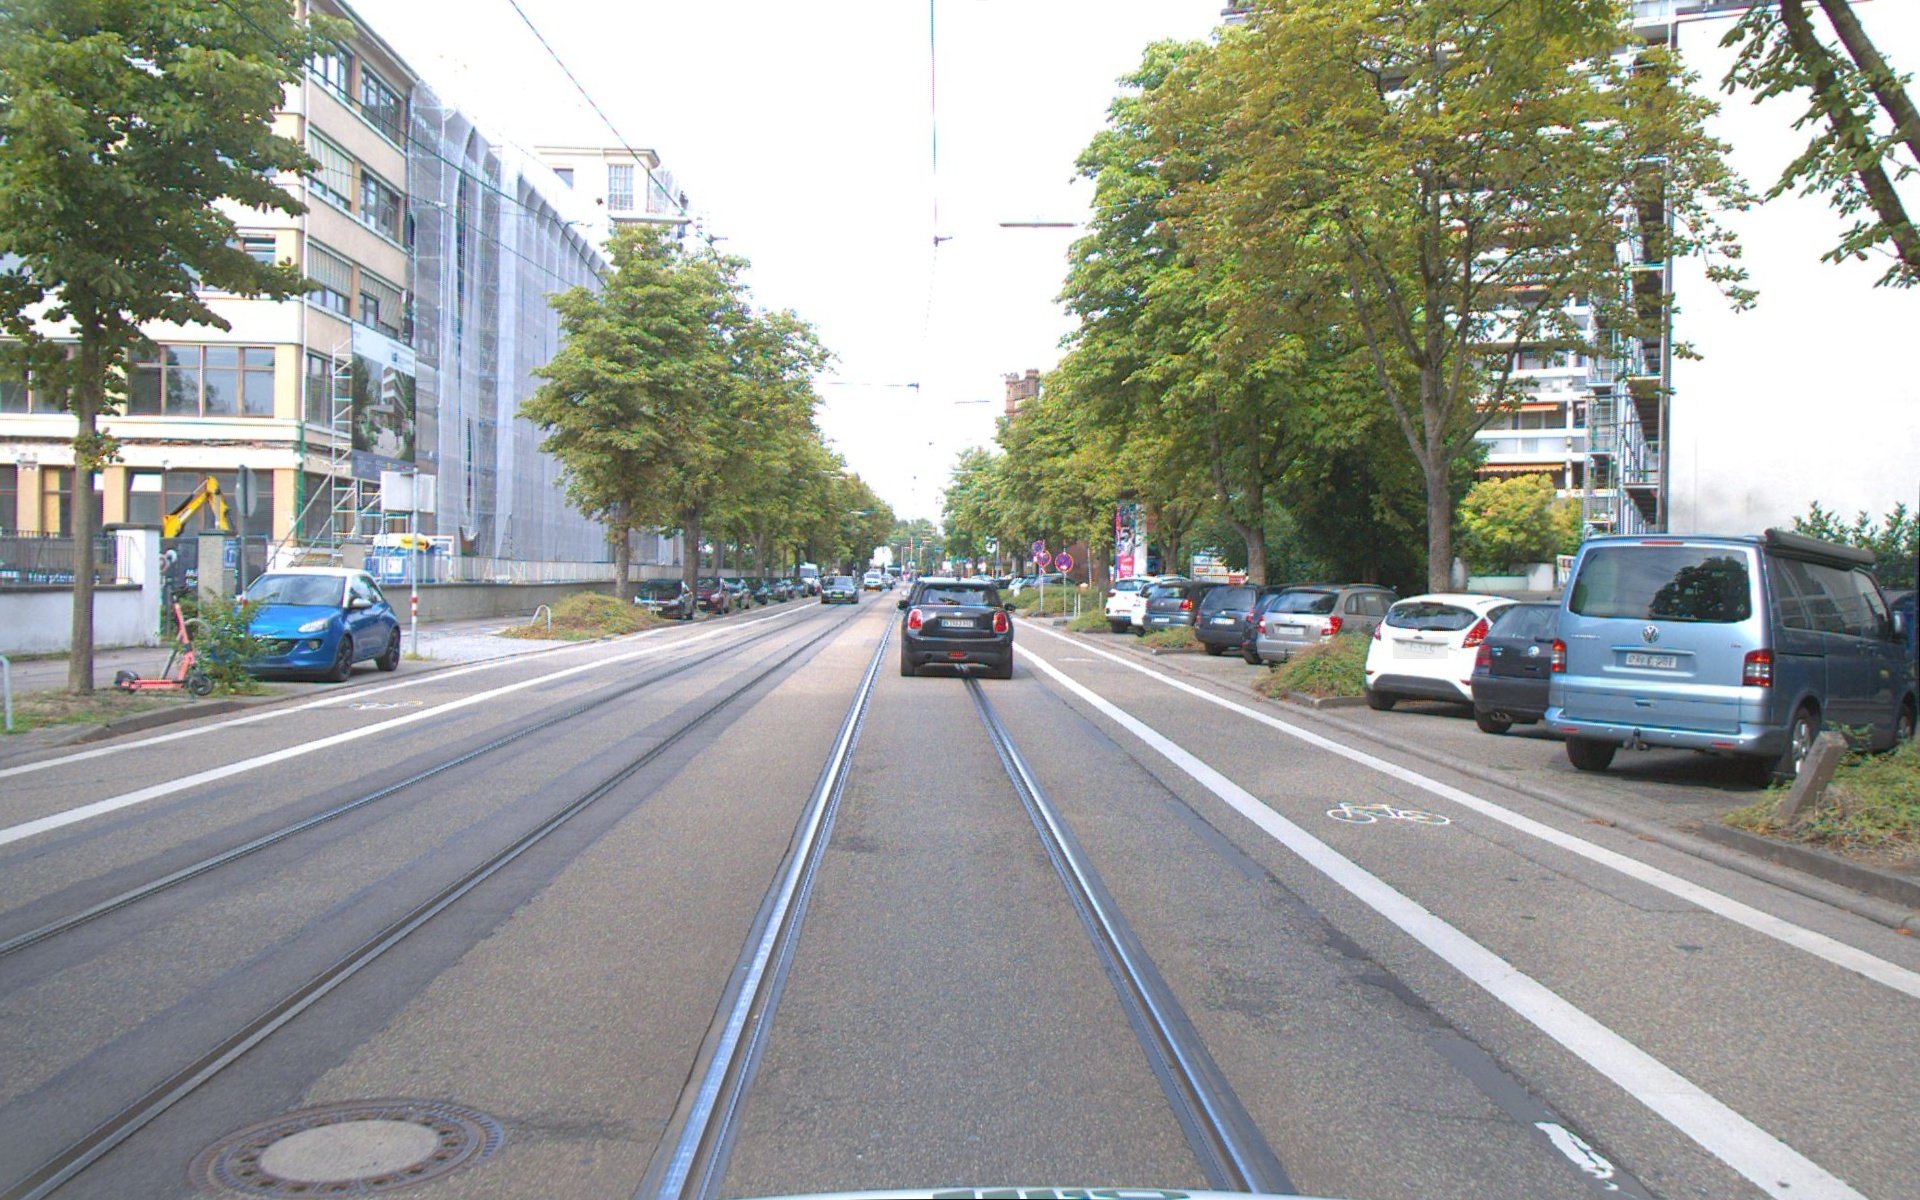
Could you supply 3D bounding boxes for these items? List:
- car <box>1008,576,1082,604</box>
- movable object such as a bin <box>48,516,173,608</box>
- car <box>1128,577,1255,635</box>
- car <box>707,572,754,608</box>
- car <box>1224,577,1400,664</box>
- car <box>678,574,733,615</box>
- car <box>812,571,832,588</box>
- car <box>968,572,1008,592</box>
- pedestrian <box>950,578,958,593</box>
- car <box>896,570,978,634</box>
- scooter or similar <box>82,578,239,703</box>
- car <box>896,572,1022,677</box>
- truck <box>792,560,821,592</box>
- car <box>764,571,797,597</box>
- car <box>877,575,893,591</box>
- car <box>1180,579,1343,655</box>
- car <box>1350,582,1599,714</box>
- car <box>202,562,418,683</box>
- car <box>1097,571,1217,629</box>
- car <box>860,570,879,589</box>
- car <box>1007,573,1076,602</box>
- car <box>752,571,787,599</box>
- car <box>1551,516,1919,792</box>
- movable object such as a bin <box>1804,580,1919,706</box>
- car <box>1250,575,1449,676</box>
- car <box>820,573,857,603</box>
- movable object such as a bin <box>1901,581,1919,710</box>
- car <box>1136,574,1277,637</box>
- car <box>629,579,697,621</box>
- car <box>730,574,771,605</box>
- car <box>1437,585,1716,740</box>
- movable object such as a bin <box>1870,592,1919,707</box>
[{"bbox_3d":[4.762,-0.561,93.019,3.909,1.449,1.883,1,1,-5],"label":"car"},{"bbox_3d":[-20.290,-0.899,39.578,1.945,2.103,1.960,1,1,0],"label":"movable object such as a bin"},{"bbox_3d":[6.223,0.147,44.313,3.416,1.468,1.537,0,1,-41],"label":"car"},{"bbox_3d":[-10.545,-0.480,76.121,1.766,1.611,4.029,0,1,-2],"label":"car"},{"bbox_3d":[6.793,0.379,31.716,1.612,1.549,3.716,2,1,43],"label":"car"},{"bbox_3d":[-10.324,-0.245,67.256,1.766,1.611,4.029,0,1,-2],"label":"car"},{"bbox_3d":[-13.461,-1.977,161.735,1.766,1.611,4.029,0,1,-2],"label":"car"},{"bbox_3d":[2.879,-1.822,170.191,3.909,1.944,1.998,2,1,-5],"label":"car"},{"bbox_3d":[-0.694,-1.693,191.724,0.711,1.674,0.767,2,1,8],"label":"pedestrian"},{"bbox_3d":[-0.639,0.010,42.611,1.758,1.495,3.996,3,1,-5],"label":"car"},{"bbox_3d":[-9.030,0.444,18.712,1.414,1.367,0.700,0,1,0],"label":"scooter or similar"},{"bbox_3d":[-0.095,0.321,25.626,1.757,1.447,3.998,2,1,-2],"label":"car"},{"bbox_3d":[-12.081,-1.889,130.513,2.029,2.513,4.897,0,1,-2],"label":"truck"},{"bbox_3d":[-11.435,-1.020,105.518,1.766,1.611,4.029,0,1,-2],"label":"car"},{"bbox_3d":[-8.262,-1.877,181.723,1.766,1.650,4.482,0,1,-2],"label":"car"},{"bbox_3d":[6.346,0.348,34.545,1.612,1.484,3.716,2,1,43],"label":"car"},{"bbox_3d":[6.572,0.562,20.902,1.611,1.485,3.807,2,1,41],"label":"car"},{"bbox_3d":[-8.967,0.267,23.135,1.659,1.513,3.676,2,1,-3],"label":"car"},{"bbox_3d":[5.672,-0.006,47.421,3.416,1.600,1.537,0,1,-41],"label":"car"},{"bbox_3d":[-8.867,-2.031,162.129,1.766,1.855,4.482,0,1,-2],"label":"car"},{"bbox_3d":[4.826,-0.755,98.426,3.909,1.655,1.883,1,1,-5],"label":"car"},{"bbox_3d":[-11.140,-0.868,96.850,1.766,1.611,4.029,0,1,-2],"label":"car"},{"bbox_3d":[6.931,0.399,14.442,1.800,2.050,4.248,2,0,43],"label":"car"},{"bbox_3d":[11.730,0.527,21.226,1.048,1.534,1.334,2,1,-1],"label":"movable object such as a bin"},{"bbox_3d":[6.562,0.412,27.676,1.612,1.549,3.716,2,1,43],"label":"car"},{"bbox_3d":[-6.430,-0.658,87.638,1.798,1.473,4.551,1,1,-3],"label":"car"},{"bbox_3d":[11.976,0.565,19.470,1.048,1.534,1.213,2,1,-1],"label":"movable object such as a bin"},{"bbox_3d":[6.170,0.129,41.280,3.503,1.468,1.600,0,1,-41],"label":"car"},{"bbox_3d":[-10.173,-0.031,56.827,1.766,1.398,4.029,0,1,-2],"label":"car"},{"bbox_3d":[-10.956,-0.569,86.772,1.766,1.611,4.029,0,1,-2],"label":"car"},{"bbox_3d":[6.839,0.619,18.147,1.646,1.485,3.807,2,1,41],"label":"car"},{"bbox_3d":[13.370,0.688,22.983,1.093,1.549,1.079,2,1,22],"label":"movable object such as a bin"}]
